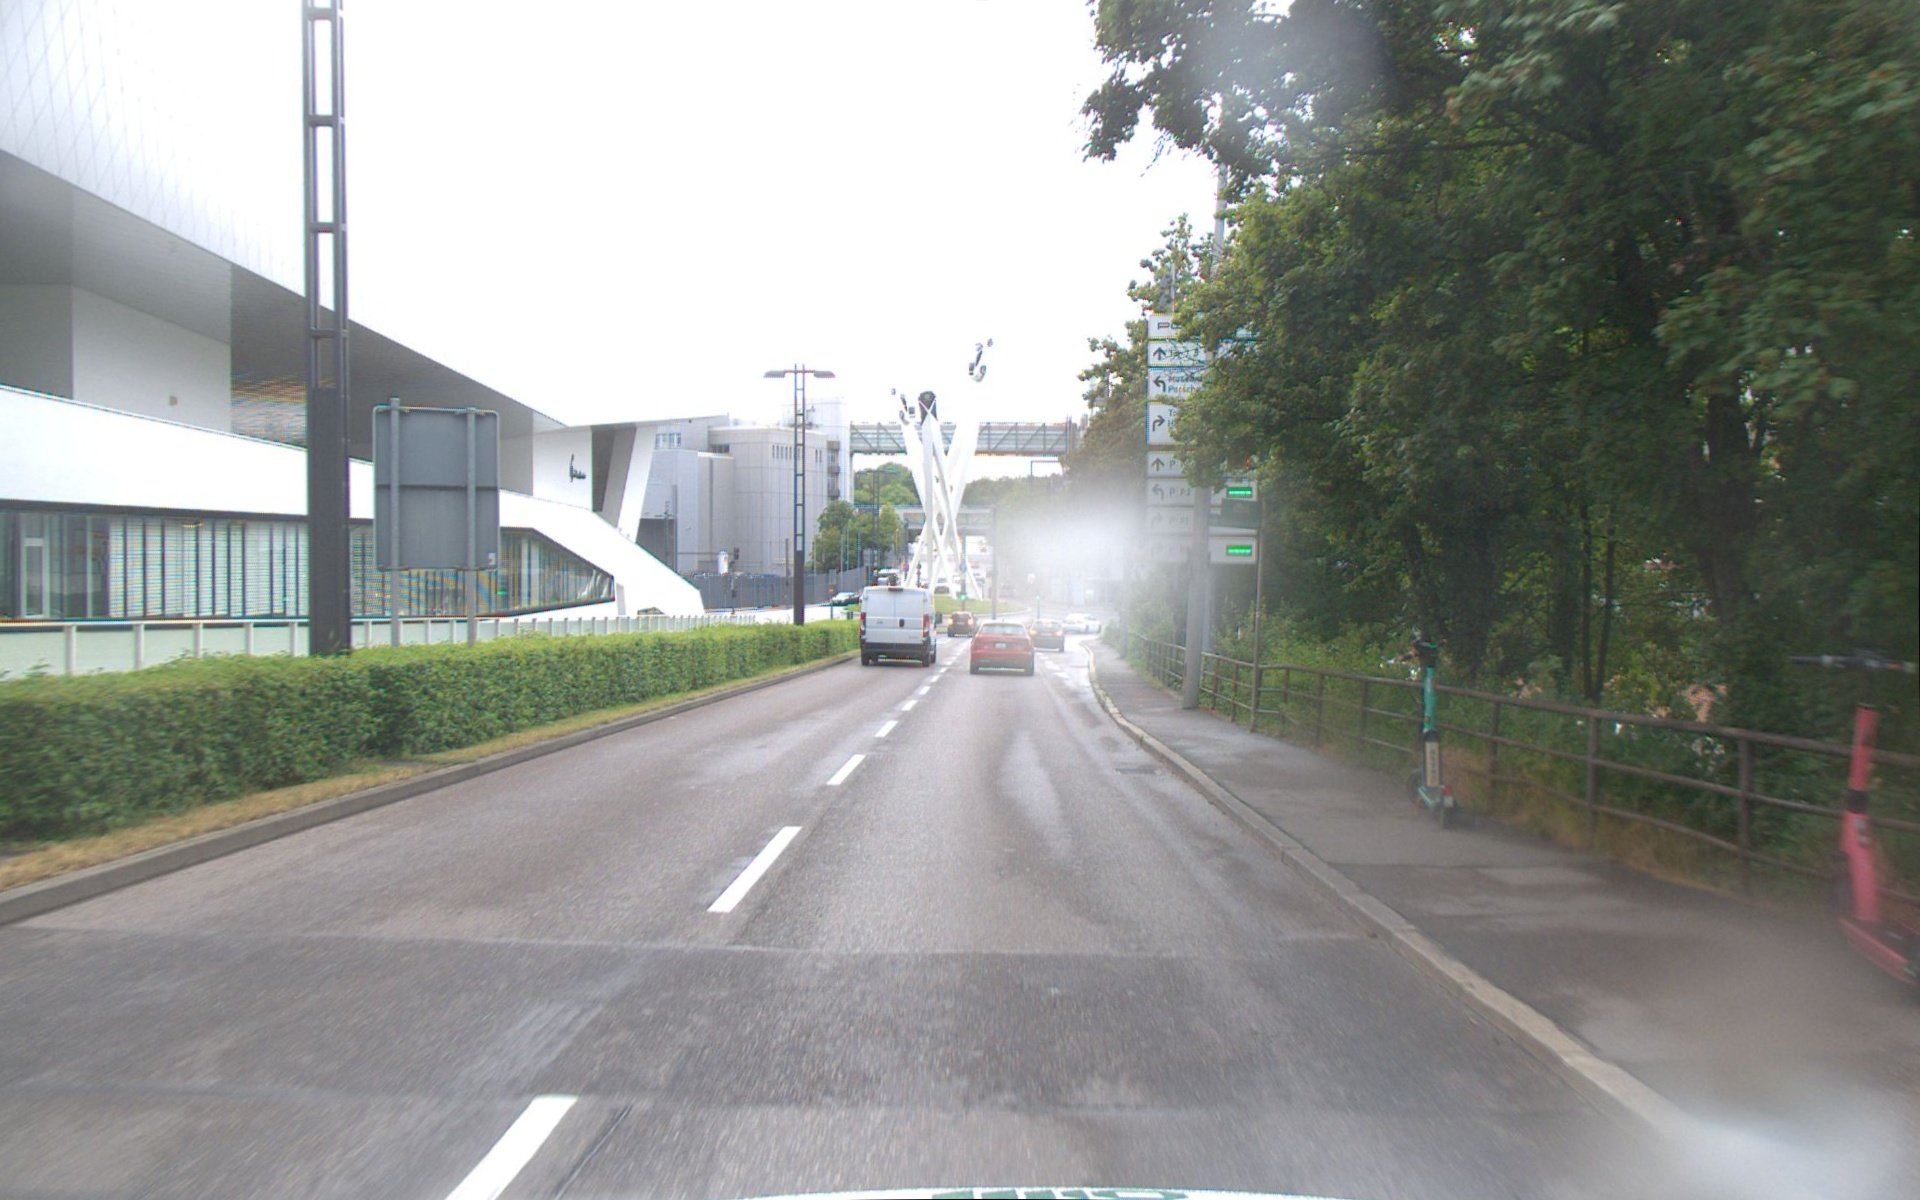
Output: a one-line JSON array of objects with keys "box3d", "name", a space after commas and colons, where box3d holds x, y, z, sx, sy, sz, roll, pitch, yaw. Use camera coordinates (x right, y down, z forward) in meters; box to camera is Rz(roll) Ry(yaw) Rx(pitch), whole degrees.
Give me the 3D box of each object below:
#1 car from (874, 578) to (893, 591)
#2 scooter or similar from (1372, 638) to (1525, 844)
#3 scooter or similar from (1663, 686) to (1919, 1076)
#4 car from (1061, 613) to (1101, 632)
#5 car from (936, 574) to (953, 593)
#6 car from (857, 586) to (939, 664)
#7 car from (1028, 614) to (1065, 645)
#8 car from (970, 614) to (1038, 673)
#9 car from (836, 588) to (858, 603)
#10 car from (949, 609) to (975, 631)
[{"box3d": [-9.346, -1.892, 201.851, 1.795, 1.498, 4.516, 1, 1, 3], "name": "car"}, {"box3d": [3.344, 0.919, 11.469, 0.526, 1.254, 1.844, 1, 0, 1], "name": "scooter or similar"}, {"box3d": [3.277, 0.989, 6.320, 0.561, 1.230, 1.468, 1, 0, 1], "name": "scooter or similar"}, {"box3d": [8.856, 1.619, 120.757, 1.635, 1.323, 3.882, 1, 0, 26], "name": "car"}, {"box3d": [-2.033, -2.202, 217.385, 1.952, 2.489, 5.429, 1, 1, 3], "name": "car"}, {"box3d": [-1.787, 0.720, 49.196, 2.187, 2.144, 4.954, 1, 0, 1], "name": "car"}, {"box3d": [3.896, 1.304, 74.859, 1.577, 1.313, 3.567, 1, 0, 1], "name": "car"}, {"box3d": [1.185, 1.144, 44.871, 1.736, 1.490, 3.733, 1, 0, 1], "name": "car"}, {"box3d": [-12.440, -0.502, 181.927, 1.795, 1.498, 4.516, 1, 1, 3], "name": "car"}, {"box3d": [0.109, 1.208, 103.041, 1.525, 1.311, 3.414, 1, 0, 1], "name": "car"}]
